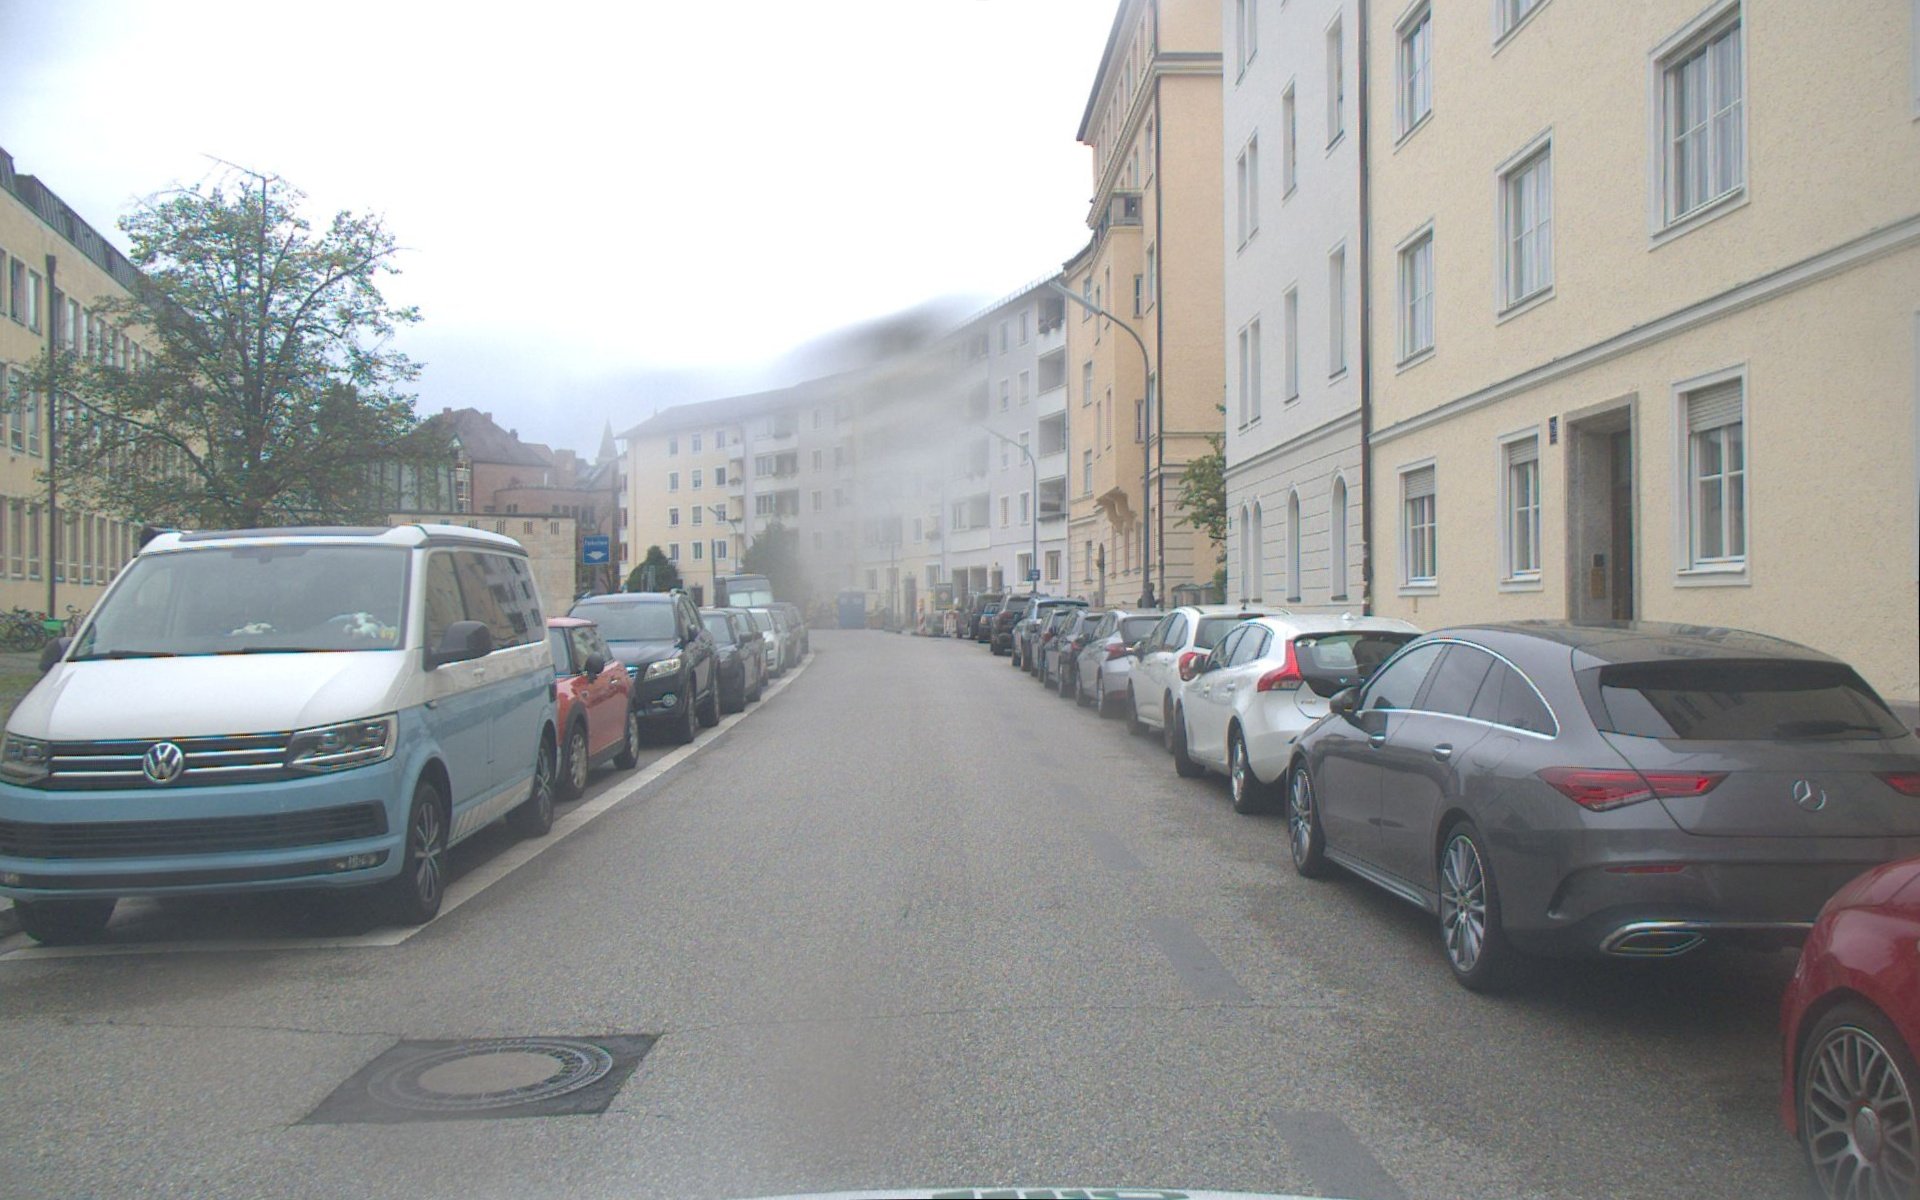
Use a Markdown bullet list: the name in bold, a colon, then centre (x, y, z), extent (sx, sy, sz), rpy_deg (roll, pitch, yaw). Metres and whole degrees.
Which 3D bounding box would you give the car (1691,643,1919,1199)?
- **car**: centre (2.962, 0.910, 3.006), extent (1.563, 1.535, 3.800), rpy_deg (0, 0, -1)

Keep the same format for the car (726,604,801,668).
- **car**: centre (-4.850, 0.857, 41.144), extent (1.591, 1.444, 3.979), rpy_deg (-1, 0, -3)

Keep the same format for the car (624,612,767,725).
- **car**: centre (-3.840, 0.953, 24.547), extent (1.591, 1.437, 3.797), rpy_deg (-2, 1, -2)

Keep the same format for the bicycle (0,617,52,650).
- **bicycle**: centre (-24.489, 0.852, 42.262), extent (2.172, 0.849, 0.492), rpy_deg (0, -1, -20)

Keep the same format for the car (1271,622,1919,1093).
- **car**: centre (2.773, 0.894, 7.766), extent (1.658, 1.517, 4.341), rpy_deg (0, 0, -2)

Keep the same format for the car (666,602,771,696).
- **car**: centre (-4.346, 0.836, 30.225), extent (1.591, 1.535, 3.978), rpy_deg (-1, 0, -4)

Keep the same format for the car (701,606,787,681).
- **car**: centre (-4.576, 0.883, 35.459), extent (1.591, 1.444, 3.978), rpy_deg (-1, 0, -4)

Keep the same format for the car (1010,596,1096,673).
- **car**: centre (2.116, 0.755, 38.487), extent (1.559, 1.609, 4.297), rpy_deg (1, 1, -2)

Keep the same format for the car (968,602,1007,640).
- **car**: centre (0.980, 0.738, 60.017), extent (1.246, 1.321, 2.796), rpy_deg (1, 0, -2)

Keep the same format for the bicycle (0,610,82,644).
- **bicycle**: centre (-25.414, 0.732, 45.492), extent (2.172, 0.911, 0.644), rpy_deg (0, -1, -20)

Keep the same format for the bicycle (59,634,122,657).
- **bicycle**: centre (-27.899, 1.456, 53.110), extent (1.711, 0.727, 0.611), rpy_deg (0, -1, -20)

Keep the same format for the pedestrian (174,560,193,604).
- **pedestrian**: centre (-32.221, -0.749, 68.641), extent (0.593, 1.766, 0.657), rpy_deg (3, -1, -32)

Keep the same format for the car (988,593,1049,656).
- **car**: centre (1.682, 0.679, 48.277), extent (1.444, 1.669, 3.999), rpy_deg (1, 1, -2)

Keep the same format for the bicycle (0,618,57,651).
- **bicycle**: centre (-24.714, 0.898, 43.005), extent (2.087, 0.849, 0.644), rpy_deg (0, -1, -20)

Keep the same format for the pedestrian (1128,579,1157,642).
- **pedestrian**: centre (5.109, 0.282, 46.414), extent (0.653, 1.722, 0.690), rpy_deg (2, 0, -1)

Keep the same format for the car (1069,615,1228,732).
- **car**: centre (2.591, 0.978, 23.566), extent (1.658, 1.457, 3.943), rpy_deg (2, 0, -2)

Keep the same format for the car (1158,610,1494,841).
- **car**: centre (2.783, 0.877, 13.533), extent (1.658, 1.517, 4.281), rpy_deg (0, 0, -2)

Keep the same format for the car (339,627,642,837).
- **car**: centre (-3.845, 1.012, 14.146), extent (1.619, 1.397, 3.651), rpy_deg (-2, 1, -2)

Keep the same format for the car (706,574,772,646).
- **car**: centre (-8.785, 0.358, 65.619), extent (1.744, 2.700, 3.978), rpy_deg (3, 0, -19)

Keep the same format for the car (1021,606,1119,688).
- **car**: centre (2.155, 0.900, 33.374), extent (1.558, 1.457, 3.824), rpy_deg (2, 1, -2)

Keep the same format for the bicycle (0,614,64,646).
- **bicycle**: centre (-25.223, 0.808, 44.260), extent (2.087, 0.849, 0.644), rpy_deg (0, -1, -20)

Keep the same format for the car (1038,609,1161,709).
- **car**: centre (2.329, 0.950, 28.494), extent (1.558, 1.457, 4.419), rpy_deg (2, 1, -2)

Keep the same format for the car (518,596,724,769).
- **car**: centre (-3.864, 0.870, 19.485), extent (1.667, 1.720, 4.026), rpy_deg (-2, 1, -2)

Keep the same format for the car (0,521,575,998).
- **car**: centre (-3.523, 0.641, 9.296), extent (1.845, 1.965, 4.598), rpy_deg (-2, 1, -4)

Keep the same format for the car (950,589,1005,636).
- **car**: centre (0.681, 0.464, 65.262), extent (1.573, 1.745, 3.082), rpy_deg (1, 1, -10)

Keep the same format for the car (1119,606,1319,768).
- **car**: centre (2.757, 0.871, 18.326), extent (1.566, 1.517, 3.799), rpy_deg (0, 1, -1)

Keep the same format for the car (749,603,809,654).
- **car**: centre (-5.507, 0.854, 50.599), extent (1.591, 1.444, 3.646), rpy_deg (-1, 0, -3)
